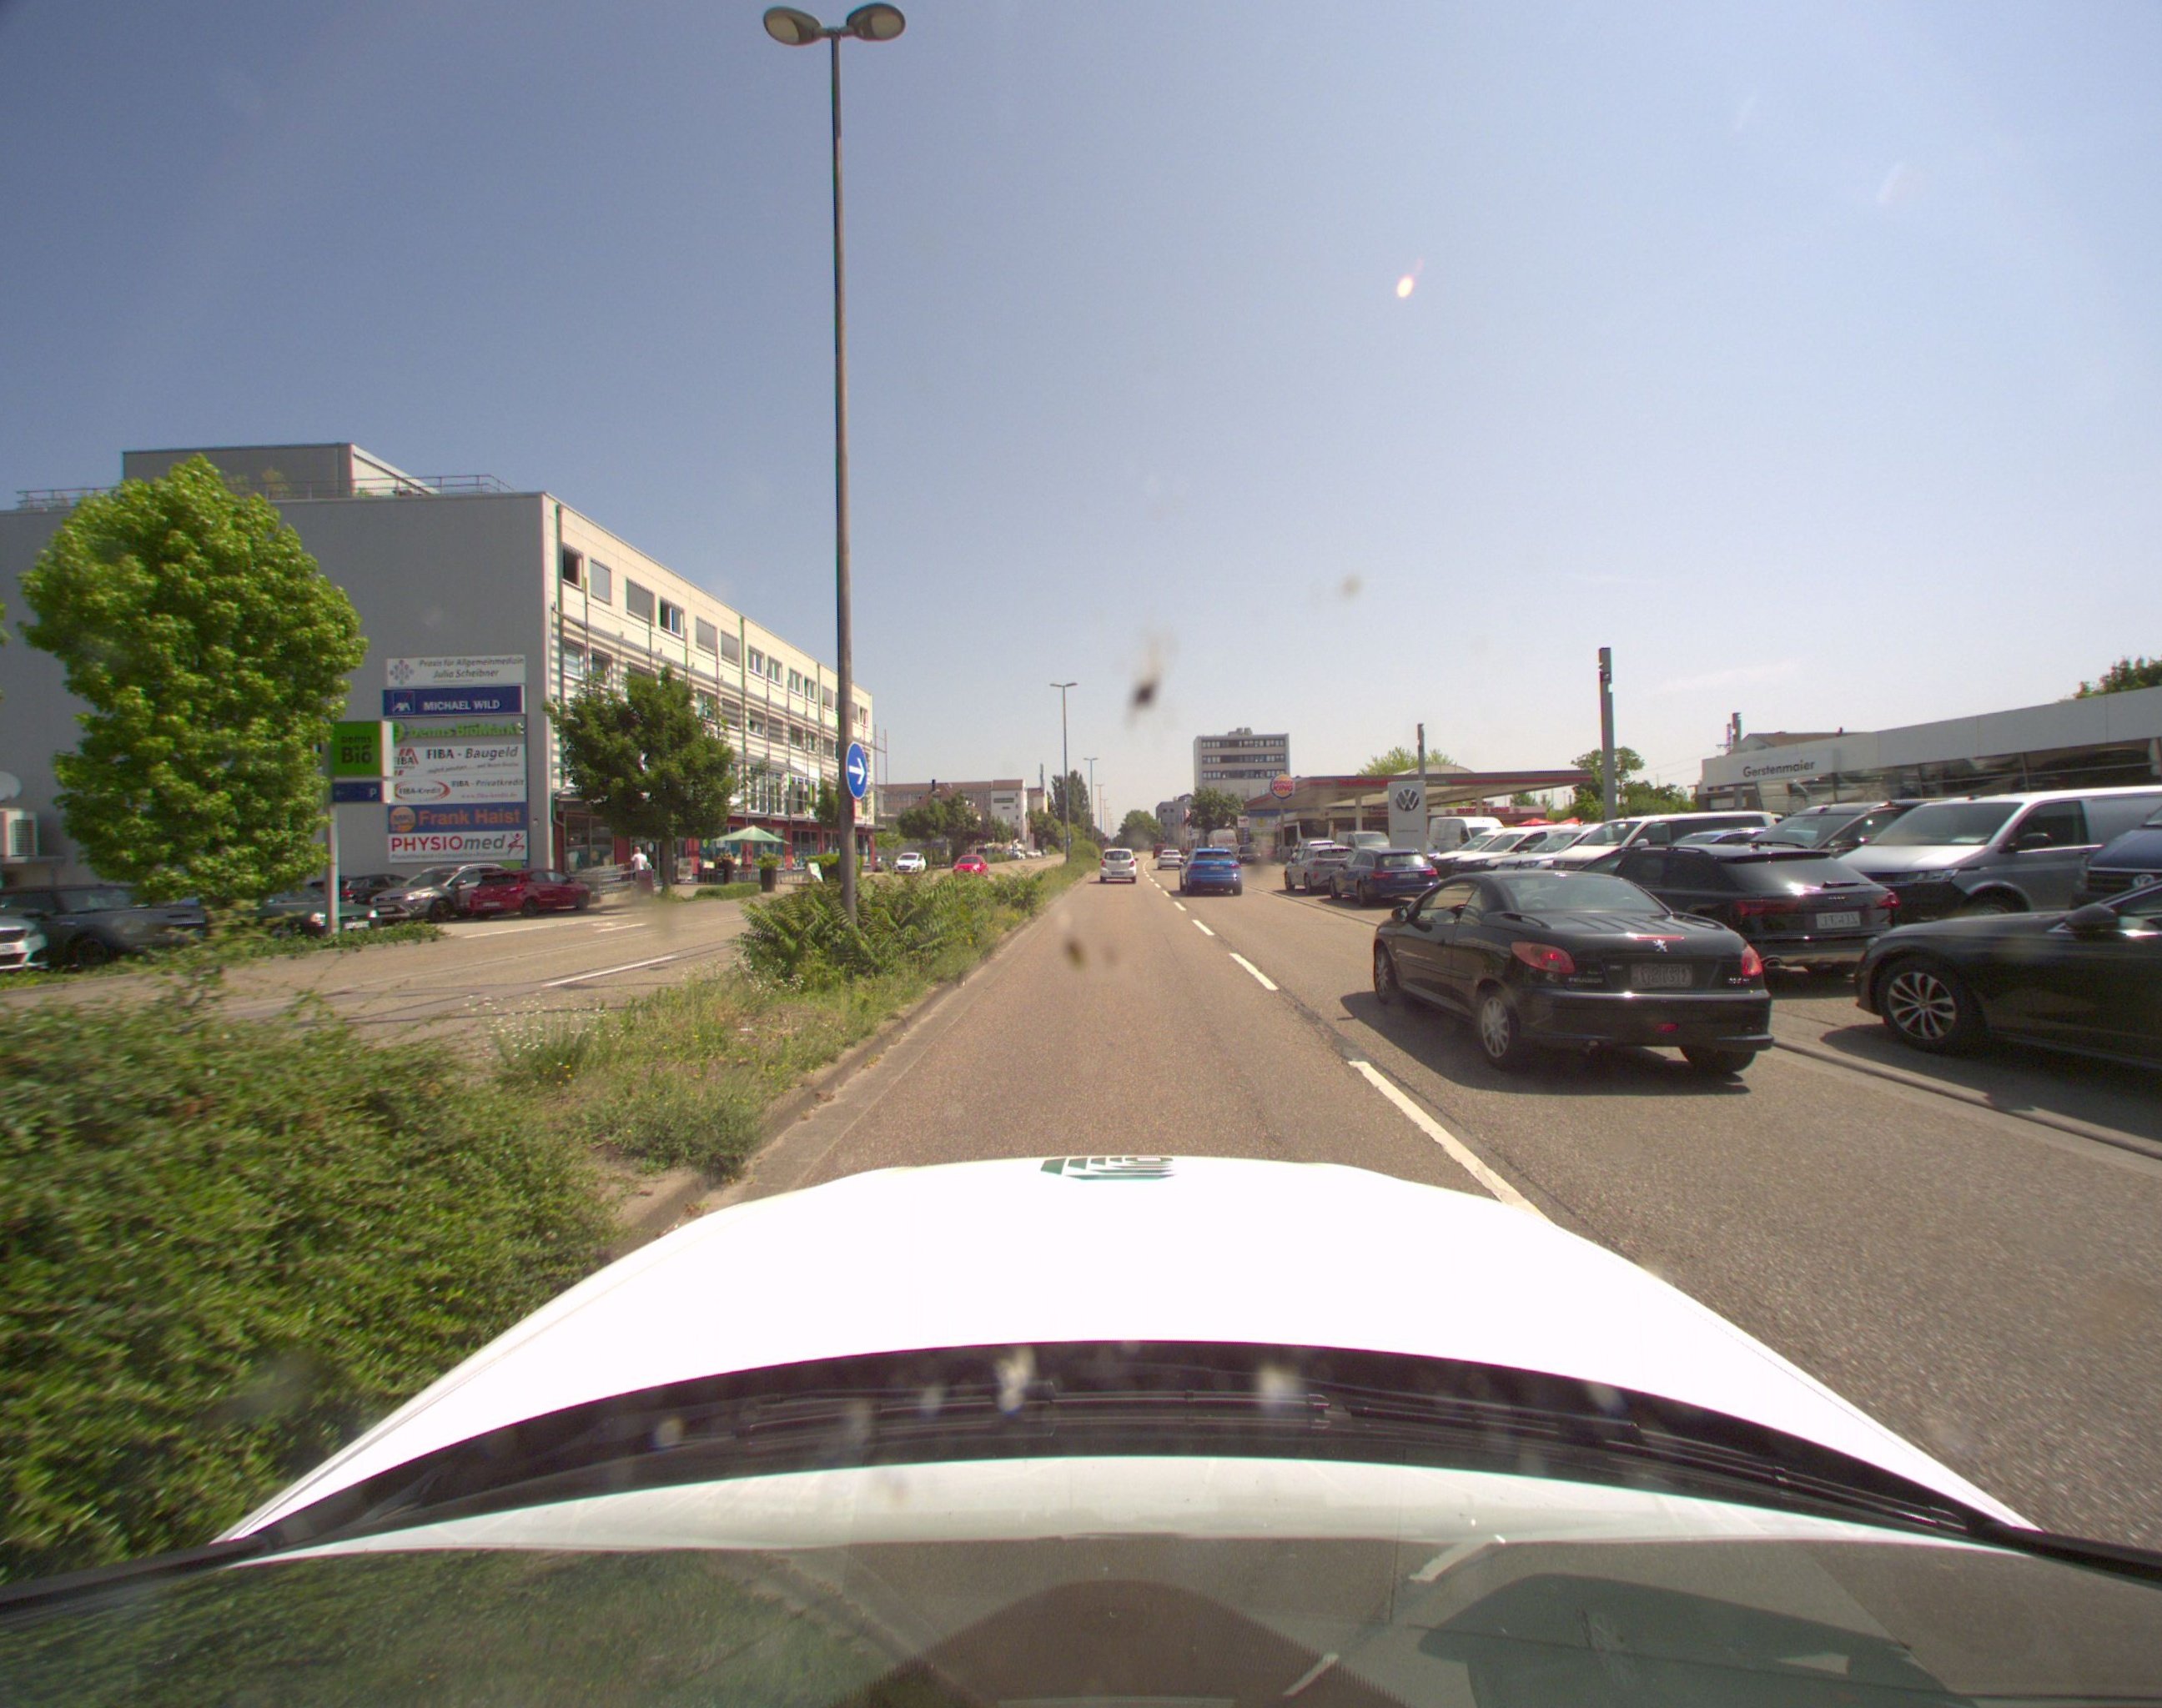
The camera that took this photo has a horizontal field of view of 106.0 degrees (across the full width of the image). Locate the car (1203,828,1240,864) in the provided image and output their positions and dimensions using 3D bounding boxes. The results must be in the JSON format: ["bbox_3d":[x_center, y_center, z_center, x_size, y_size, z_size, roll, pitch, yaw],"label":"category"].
[{"bbox_3d":[12.335,-0.675,72.142,2.124,2.839,7.314,-5,0,3],"label":"car"}]

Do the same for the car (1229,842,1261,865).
[{"bbox_3d":[11.773,-0.032,58.625,1.650,1.519,3.822,-2,0,2],"label":"car"}]

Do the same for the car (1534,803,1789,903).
[{"bbox_3d":[13.666,-0.038,19.379,4.625,2.013,1.960,-3,0,0],"label":"car"}]

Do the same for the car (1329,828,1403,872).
[{"bbox_3d":[14.000,-0.187,40.308,1.986,2.023,5.163,0,0,2],"label":"car"}]

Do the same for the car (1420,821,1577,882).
[{"bbox_3d":[14.229,-0.098,27.948,4.396,1.882,1.910,-2,0,1],"label":"car"}]

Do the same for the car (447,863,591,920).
[{"bbox_3d":[-17.266,1.089,25.244,1.653,1.467,3.799,-4,0,2],"label":"car"}]

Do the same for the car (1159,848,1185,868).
[{"bbox_3d":[6.456,0.270,58.168,1.660,1.399,3.797,-1,0,3],"label":"car"}]

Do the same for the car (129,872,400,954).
[{"bbox_3d":[-16.242,1.145,16.337,3.643,1.364,1.782,-3,0,3],"label":"car"}]

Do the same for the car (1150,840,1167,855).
[{"bbox_3d":[9.630,-0.780,100.848,1.788,1.729,3.972,0,-1,1],"label":"car"}]

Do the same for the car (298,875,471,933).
[{"bbox_3d":[-21.599,1.500,25.508,1.732,1.465,4.004,-4,0,3],"label":"car"}]

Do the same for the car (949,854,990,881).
[{"bbox_3d":[-6.417,0.763,47.215,1.624,1.424,3.453,-3,-1,3],"label":"car"}]

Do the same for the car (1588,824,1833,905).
[{"bbox_3d":[12.763,0.213,16.720,3.610,1.570,1.720,0,0,7],"label":"car"}]

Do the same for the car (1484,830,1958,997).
[{"bbox_3d":[7.315,0.564,10.257,1.849,1.481,5.154,-3,0,-1],"label":"car"}]

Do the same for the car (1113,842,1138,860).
[{"bbox_3d":[3.671,-0.216,67.767,1.824,1.450,3.999,0,-1,0],"label":"car"}]

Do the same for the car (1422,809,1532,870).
[{"bbox_3d":[19.417,-0.692,40.415,2.247,2.675,7.023,-2,0,3],"label":"car"}]

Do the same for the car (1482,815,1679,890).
[{"bbox_3d":[13.514,-0.010,22.212,4.135,1.781,1.881,-3,-2,1],"label":"car"}]

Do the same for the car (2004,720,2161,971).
[{"bbox_3d":[13.804,-0.086,8.358,5.816,2.524,2.207,0,-2,4],"label":"car"}]

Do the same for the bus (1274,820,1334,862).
[{"bbox_3d":[18.096,-1.093,66.801,2.790,3.078,12.307,-1,1,6],"label":"bus"}]

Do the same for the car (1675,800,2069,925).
[{"bbox_3d":[13.412,0.106,14.089,4.767,1.984,2.006,0,2,2],"label":"car"}]

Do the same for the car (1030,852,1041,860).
[{"bbox_3d":[-8.393,0.405,150.291,1.897,1.354,3.996,0,-2,-2],"label":"car"}]

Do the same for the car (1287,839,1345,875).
[{"bbox_3d":[11.575,0.124,40.447,1.660,1.596,4.615,-2,0,2],"label":"car"}]

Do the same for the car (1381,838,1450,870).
[{"bbox_3d":[16.556,-0.006,40.528,1.736,1.513,4.603,0,0,2],"label":"car"}]

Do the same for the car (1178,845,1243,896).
[{"bbox_3d":[4.394,0.513,28.233,1.904,1.597,4.402,0,0,5],"label":"car"}]

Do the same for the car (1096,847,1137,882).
[{"bbox_3d":[1.565,0.501,37.124,1.707,1.511,3.246,0,-2,0],"label":"car"}]

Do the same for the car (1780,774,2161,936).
[{"bbox_3d":[13.595,0.015,11.228,5.869,2.014,2.261,0,-1,3],"label":"car"}]

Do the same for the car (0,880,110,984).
[{"bbox_3d":[-16.494,1.155,11.061,4.208,1.349,1.981,-3,0,1],"label":"car"}]

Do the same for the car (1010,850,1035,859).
[{"bbox_3d":[-9.978,0.080,138.034,3.968,1.552,1.868,0,-2,5],"label":"car"}]

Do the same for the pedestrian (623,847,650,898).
[{"bbox_3d":[-16.647,0.691,30.485,0.673,1.866,0.499,-2,0,2],"label":"pedestrian"}]

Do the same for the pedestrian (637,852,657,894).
[{"bbox_3d":[-17.089,0.745,32.076,0.527,1.620,0.392,-2,0,2],"label":"pedestrian"}]

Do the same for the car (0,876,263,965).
[{"bbox_3d":[-16.482,1.091,13.558,3.824,1.230,1.860,-3,0,1],"label":"car"}]

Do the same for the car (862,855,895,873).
[{"bbox_3d":[-18.592,0.977,75.009,1.762,1.547,4.003,-1,-2,3],"label":"car"}]

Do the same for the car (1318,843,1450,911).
[{"bbox_3d":[7.875,0.556,21.656,1.708,1.548,4.790,-2,0,0],"label":"car"}]

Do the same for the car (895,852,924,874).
[{"bbox_3d":[-12.265,0.682,58.461,1.677,1.495,4.031,0,-2,-8],"label":"car"}]

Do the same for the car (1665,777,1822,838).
[{"bbox_3d":[32.570,-2.180,40.468,2.247,2.556,7.078,-2,0,3],"label":"car"}]

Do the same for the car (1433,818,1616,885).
[{"bbox_3d":[13.507,-0.043,25.017,4.539,1.888,1.857,-1,-2,1],"label":"car"}]

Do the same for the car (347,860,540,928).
[{"bbox_3d":[-19.693,1.151,25.532,1.753,1.734,5.168,-4,0,2],"label":"car"}]

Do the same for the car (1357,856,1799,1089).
[{"bbox_3d":[3.676,0.737,6.847,1.593,1.425,3.663,0,0,2],"label":"car"}]

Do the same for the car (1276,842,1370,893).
[{"bbox_3d":[7.907,0.403,27.037,1.728,1.552,4.176,-1,0,-3],"label":"car"}]

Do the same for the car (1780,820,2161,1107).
[{"bbox_3d":[6.846,0.570,4.318,1.953,1.530,5.164,-3,0,2],"label":"car"}]
